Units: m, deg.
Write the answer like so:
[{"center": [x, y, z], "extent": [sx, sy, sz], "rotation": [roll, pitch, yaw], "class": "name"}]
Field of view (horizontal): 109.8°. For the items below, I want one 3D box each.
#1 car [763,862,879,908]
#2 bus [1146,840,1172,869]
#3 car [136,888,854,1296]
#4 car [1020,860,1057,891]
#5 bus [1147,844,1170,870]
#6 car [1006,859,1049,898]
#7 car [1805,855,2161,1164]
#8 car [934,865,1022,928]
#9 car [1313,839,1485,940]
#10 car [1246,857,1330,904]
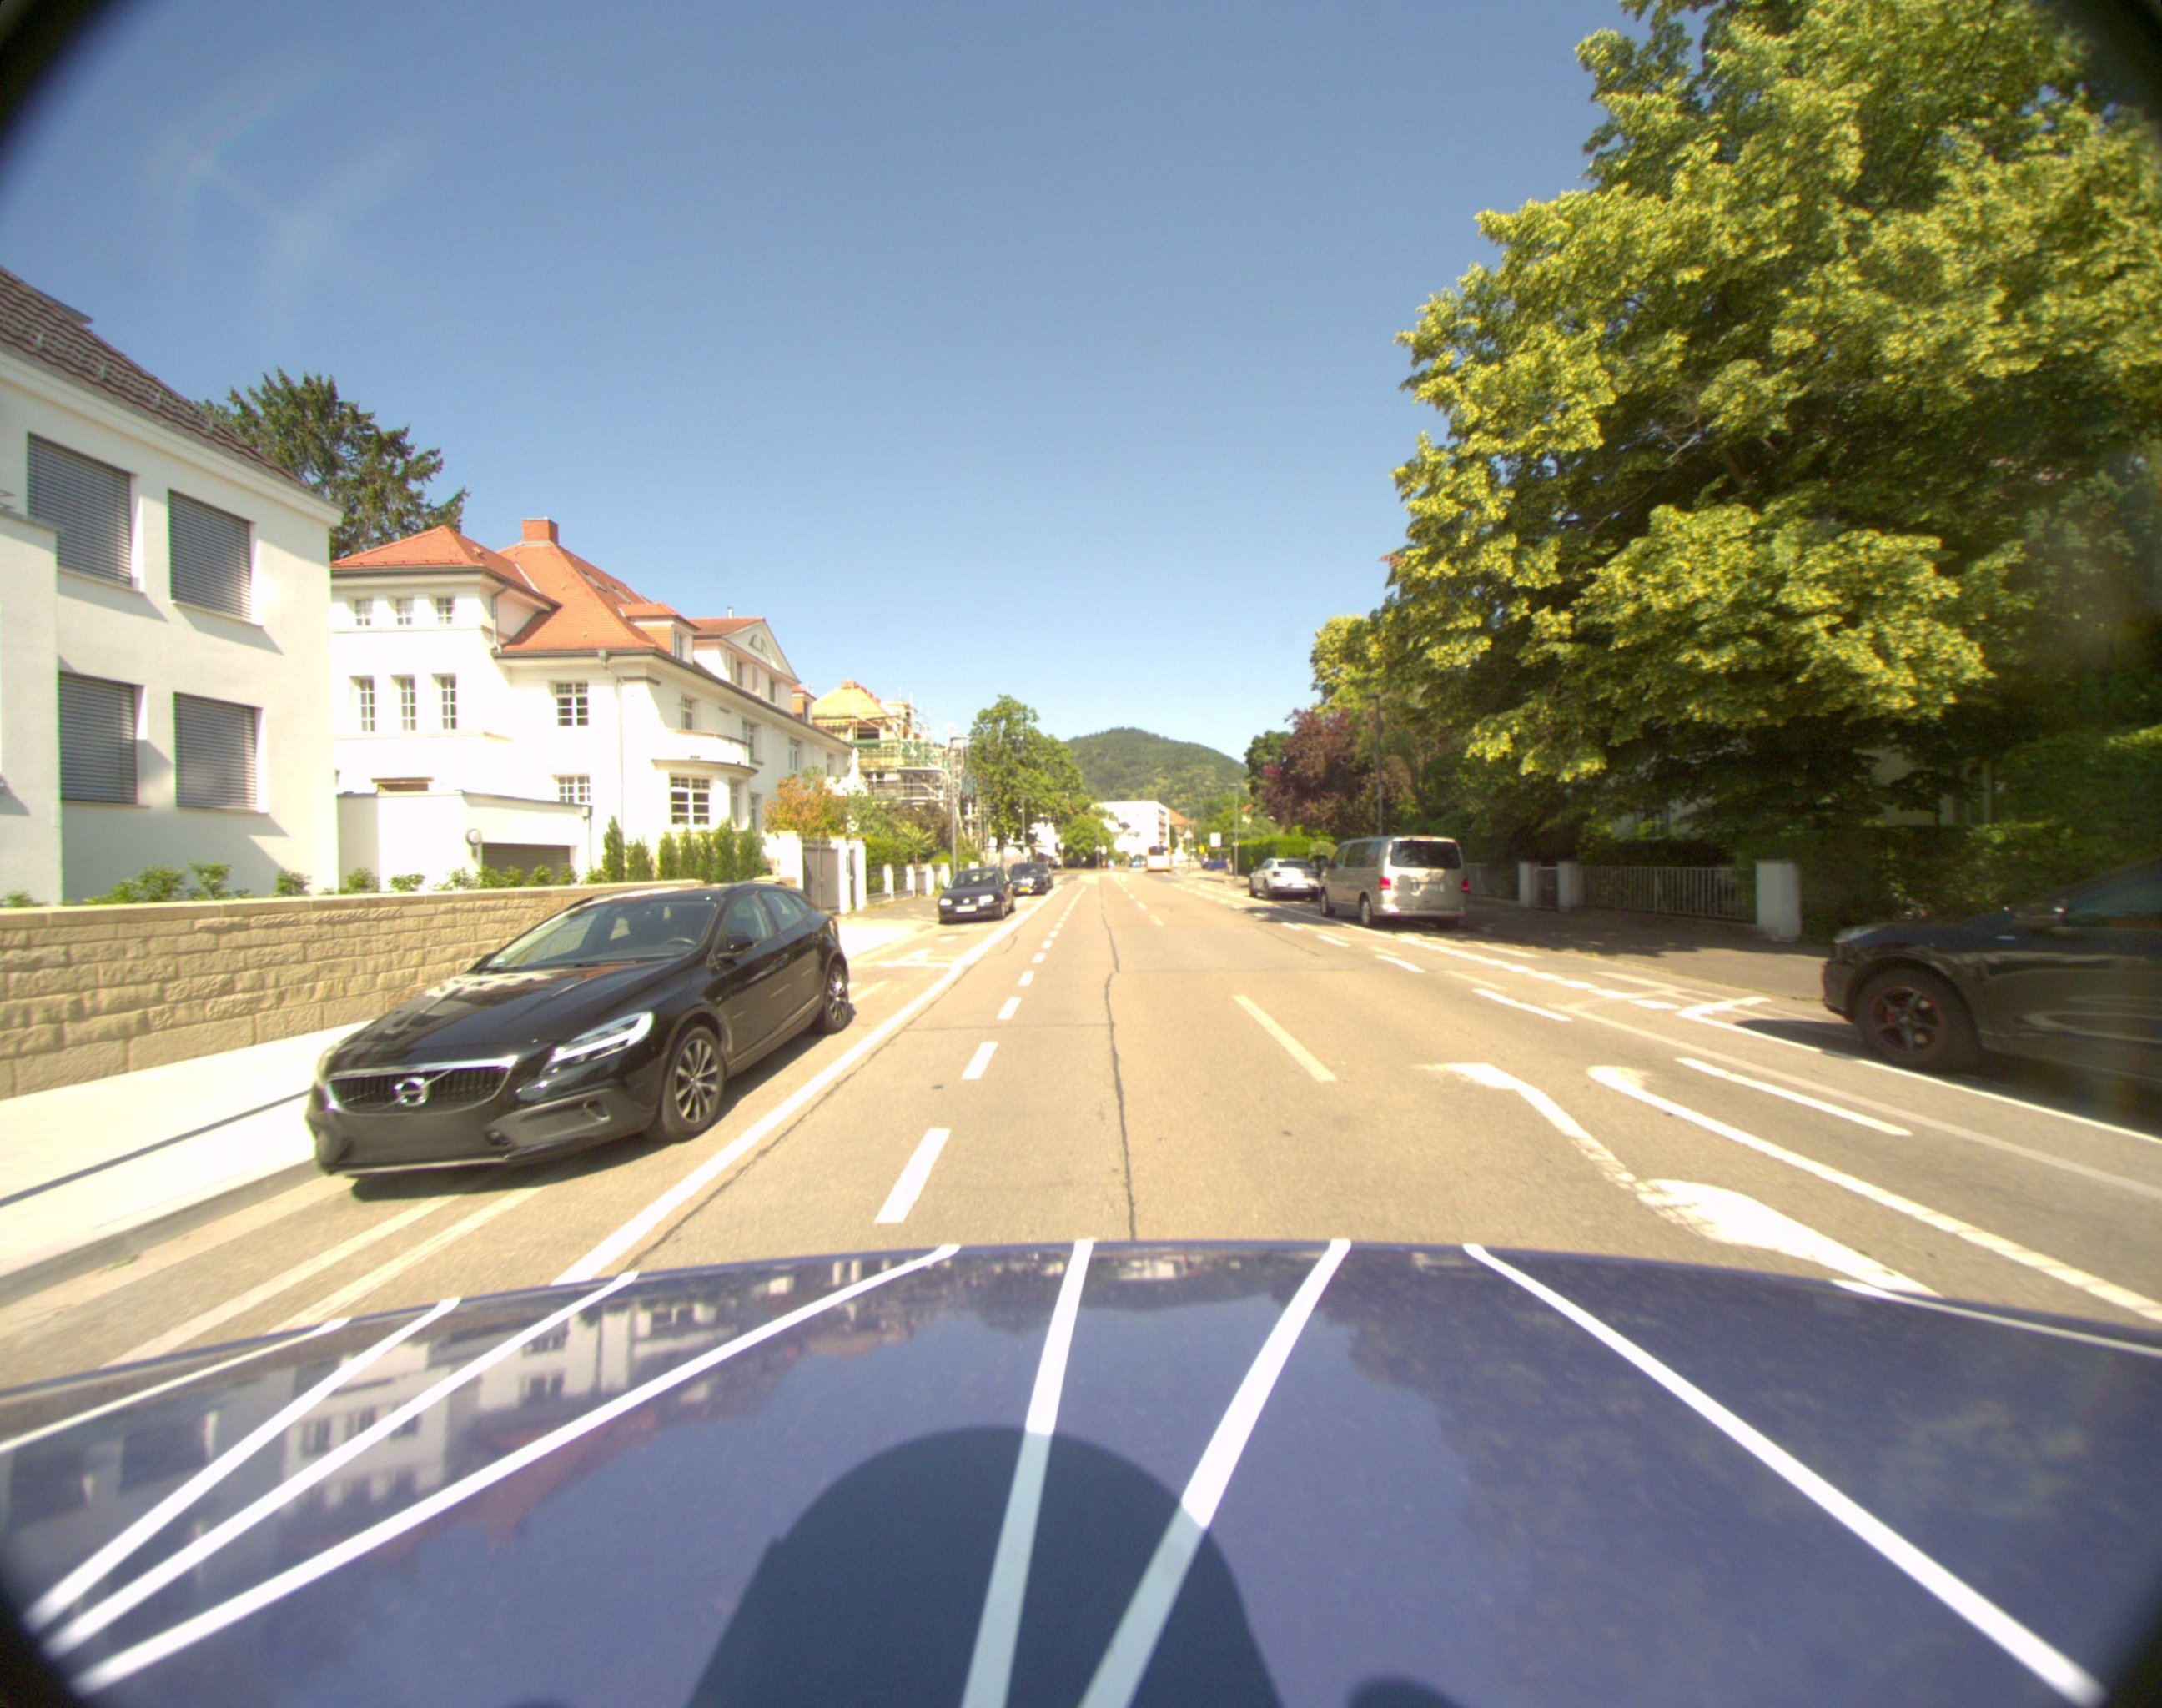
[{"center": [-10.753, 1.255, 31.653], "extent": [4.173, 1.573, 1.702], "rotation": [-4, 0, -1], "class": "car"}, {"center": [8.875, 0.089, 87.276], "extent": [2.751, 3.155, 9.782], "rotation": [1, 0, 5], "class": "bus"}, {"center": [-3.134, 1.118, 5.347], "extent": [1.726, 1.440, 4.168], "rotation": [-4, 0, 0], "class": "car"}, {"center": [-2.228, 1.120, 40.558], "extent": [1.662, 1.467, 3.787], "rotation": [-4, 0, 1], "class": "car"}, {"center": [9.810, 0.418, 97.022], "extent": [2.751, 3.155, 9.782], "rotation": [1, 0, 5], "class": "bus"}, {"center": [-2.445, 1.074, 35.575], "extent": [1.701, 1.573, 4.900], "rotation": [-4, 0, -2], "class": "car"}, {"center": [6.603, 0.856, 3.721], "extent": [1.855, 1.601, 4.448], "rotation": [2, 0, 1], "class": "car"}, {"center": [-2.814, 1.128, 21.627], "extent": [1.623, 1.440, 4.001], "rotation": [-4, 0, 4], "class": "car"}, {"center": [6.909, 0.710, 17.180], "extent": [1.889, 1.908, 4.869], "rotation": [2, 0, 1], "class": "car"}, {"center": [7.268, 0.885, 27.136], "extent": [1.837, 1.477, 4.563], "rotation": [2, 0, 2], "class": "car"}]
